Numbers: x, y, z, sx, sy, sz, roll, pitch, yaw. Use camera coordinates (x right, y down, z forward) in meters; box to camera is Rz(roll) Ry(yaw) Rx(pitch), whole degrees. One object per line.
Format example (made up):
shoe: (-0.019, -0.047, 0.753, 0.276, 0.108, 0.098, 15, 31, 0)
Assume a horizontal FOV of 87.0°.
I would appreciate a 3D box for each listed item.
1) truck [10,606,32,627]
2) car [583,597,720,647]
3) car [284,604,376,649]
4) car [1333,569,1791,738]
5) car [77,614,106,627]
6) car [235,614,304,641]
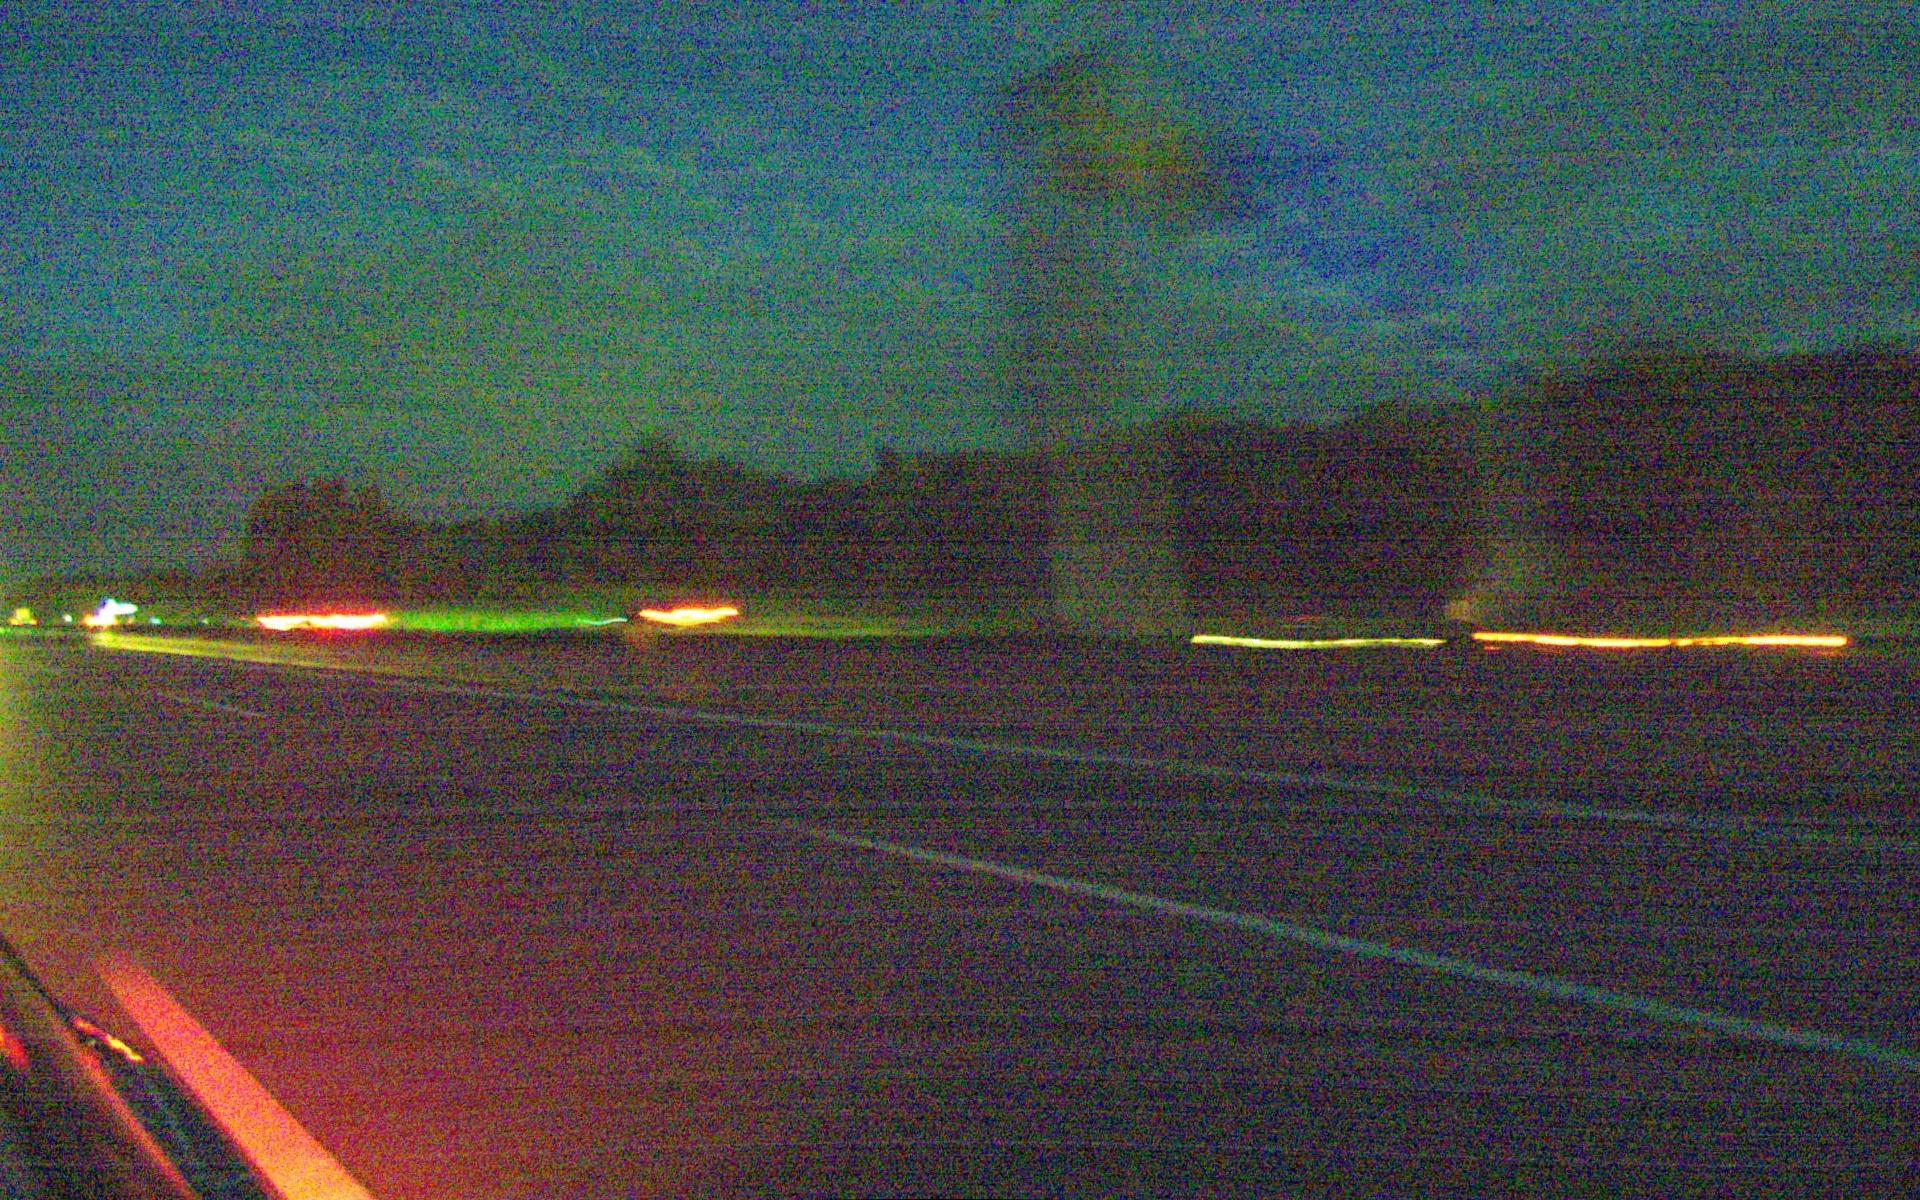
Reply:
truck: (-178.326, 3.225, 192.237, 9.066, 3.881, 2.491, -2, 0, 44)
car: (-10.452, 0.735, 34.080, 5.183, 1.520, 1.973, -1, 0, 41)
car: (-26.372, 1.084, 42.299, 4.657, 1.747, 1.973, -1, 0, 41)
car: (7.388, 0.582, 12.727, 4.657, 1.747, 1.973, -1, 0, 41)
car: (-104.529, 2.512, 121.836, 3.996, 1.520, 1.974, -1, 0, 39)
car: (-40.727, 1.615, 59.650, 5.197, 1.520, 1.974, -1, 0, 39)
